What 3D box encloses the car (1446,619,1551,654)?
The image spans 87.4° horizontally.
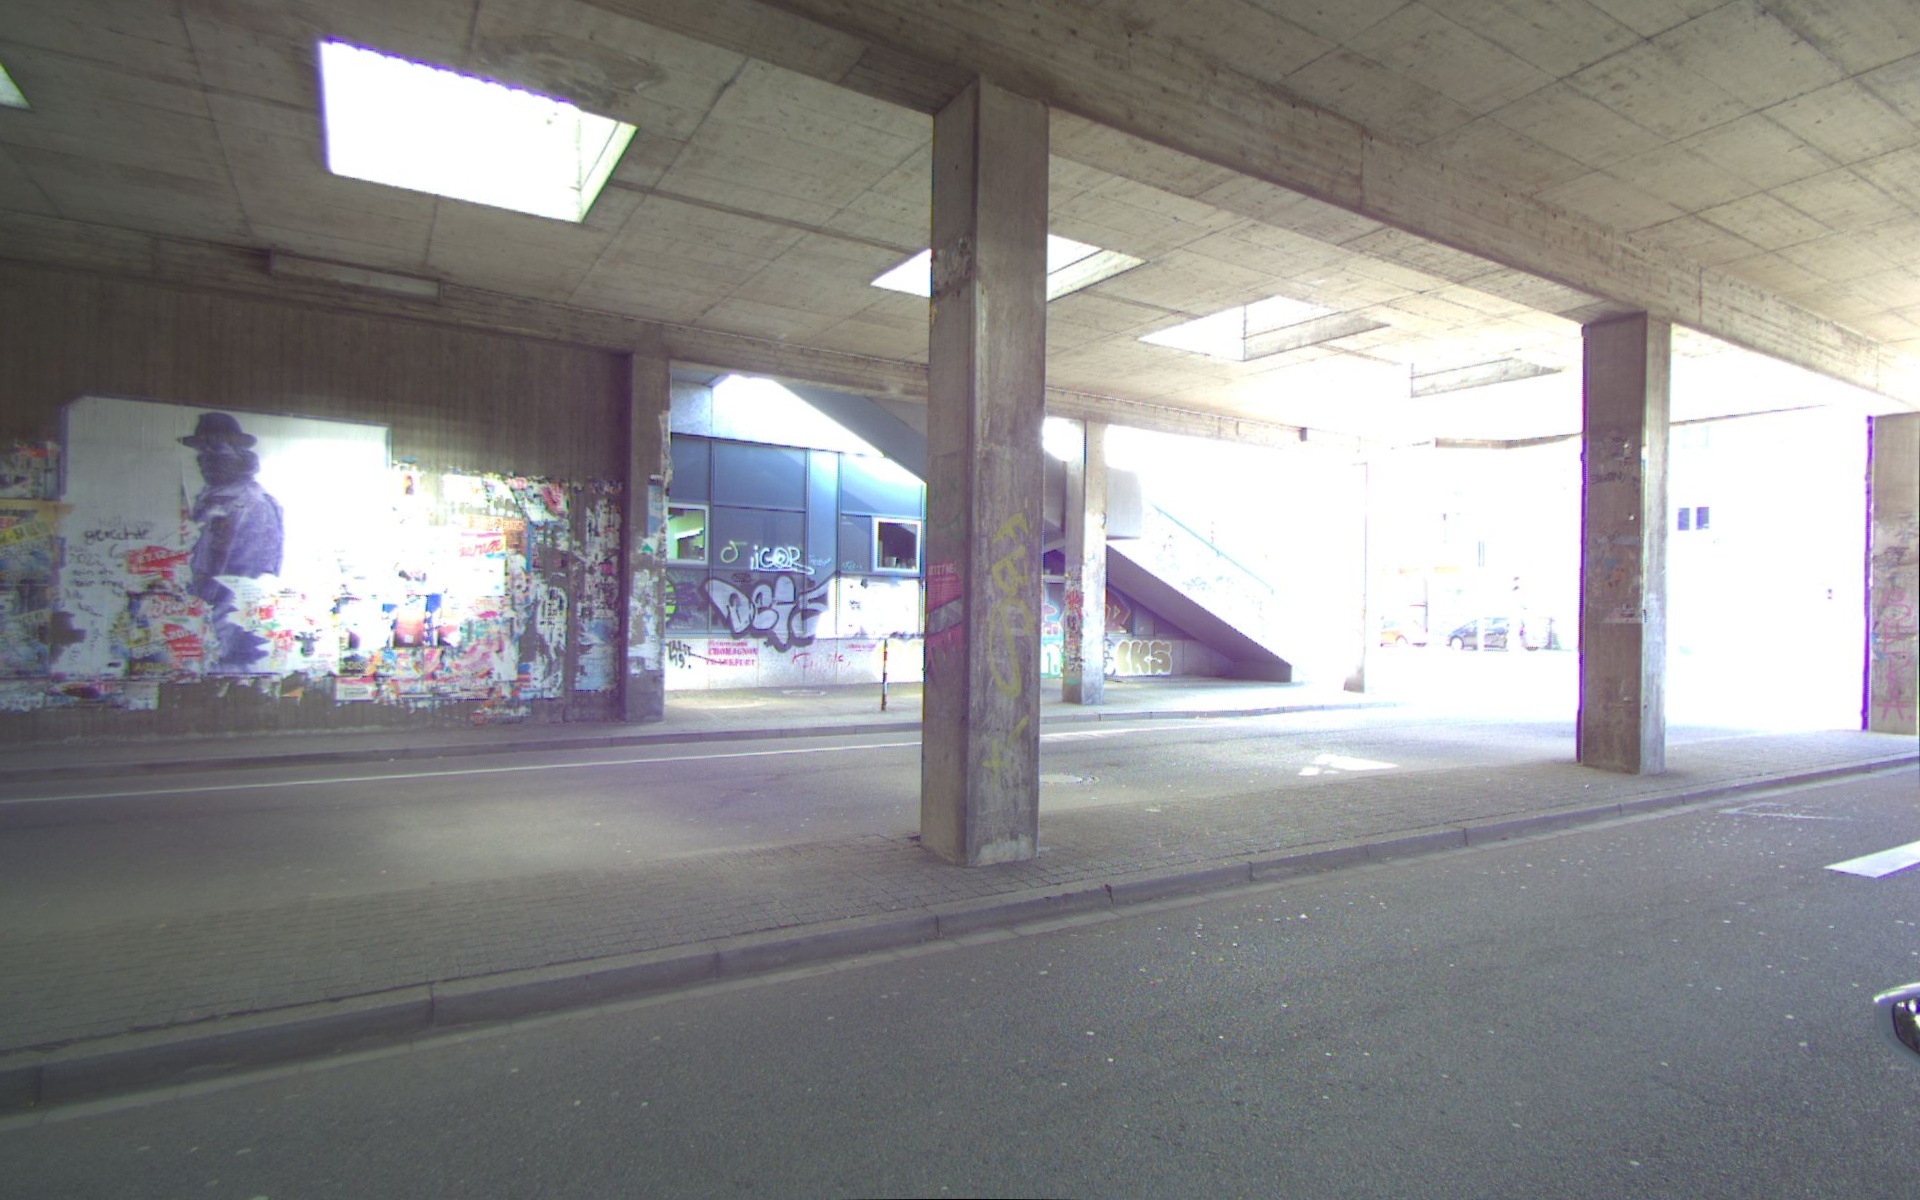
[{"bbox_3d":[25.476,1.713,47.655,1.718,1.495,4.089,2,-1,-31],"label":"car"}]

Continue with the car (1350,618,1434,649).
[{"bbox_3d":[22.564,1.730,52.610,1.730,1.495,3.741,2,-1,-31],"label":"car"}]
